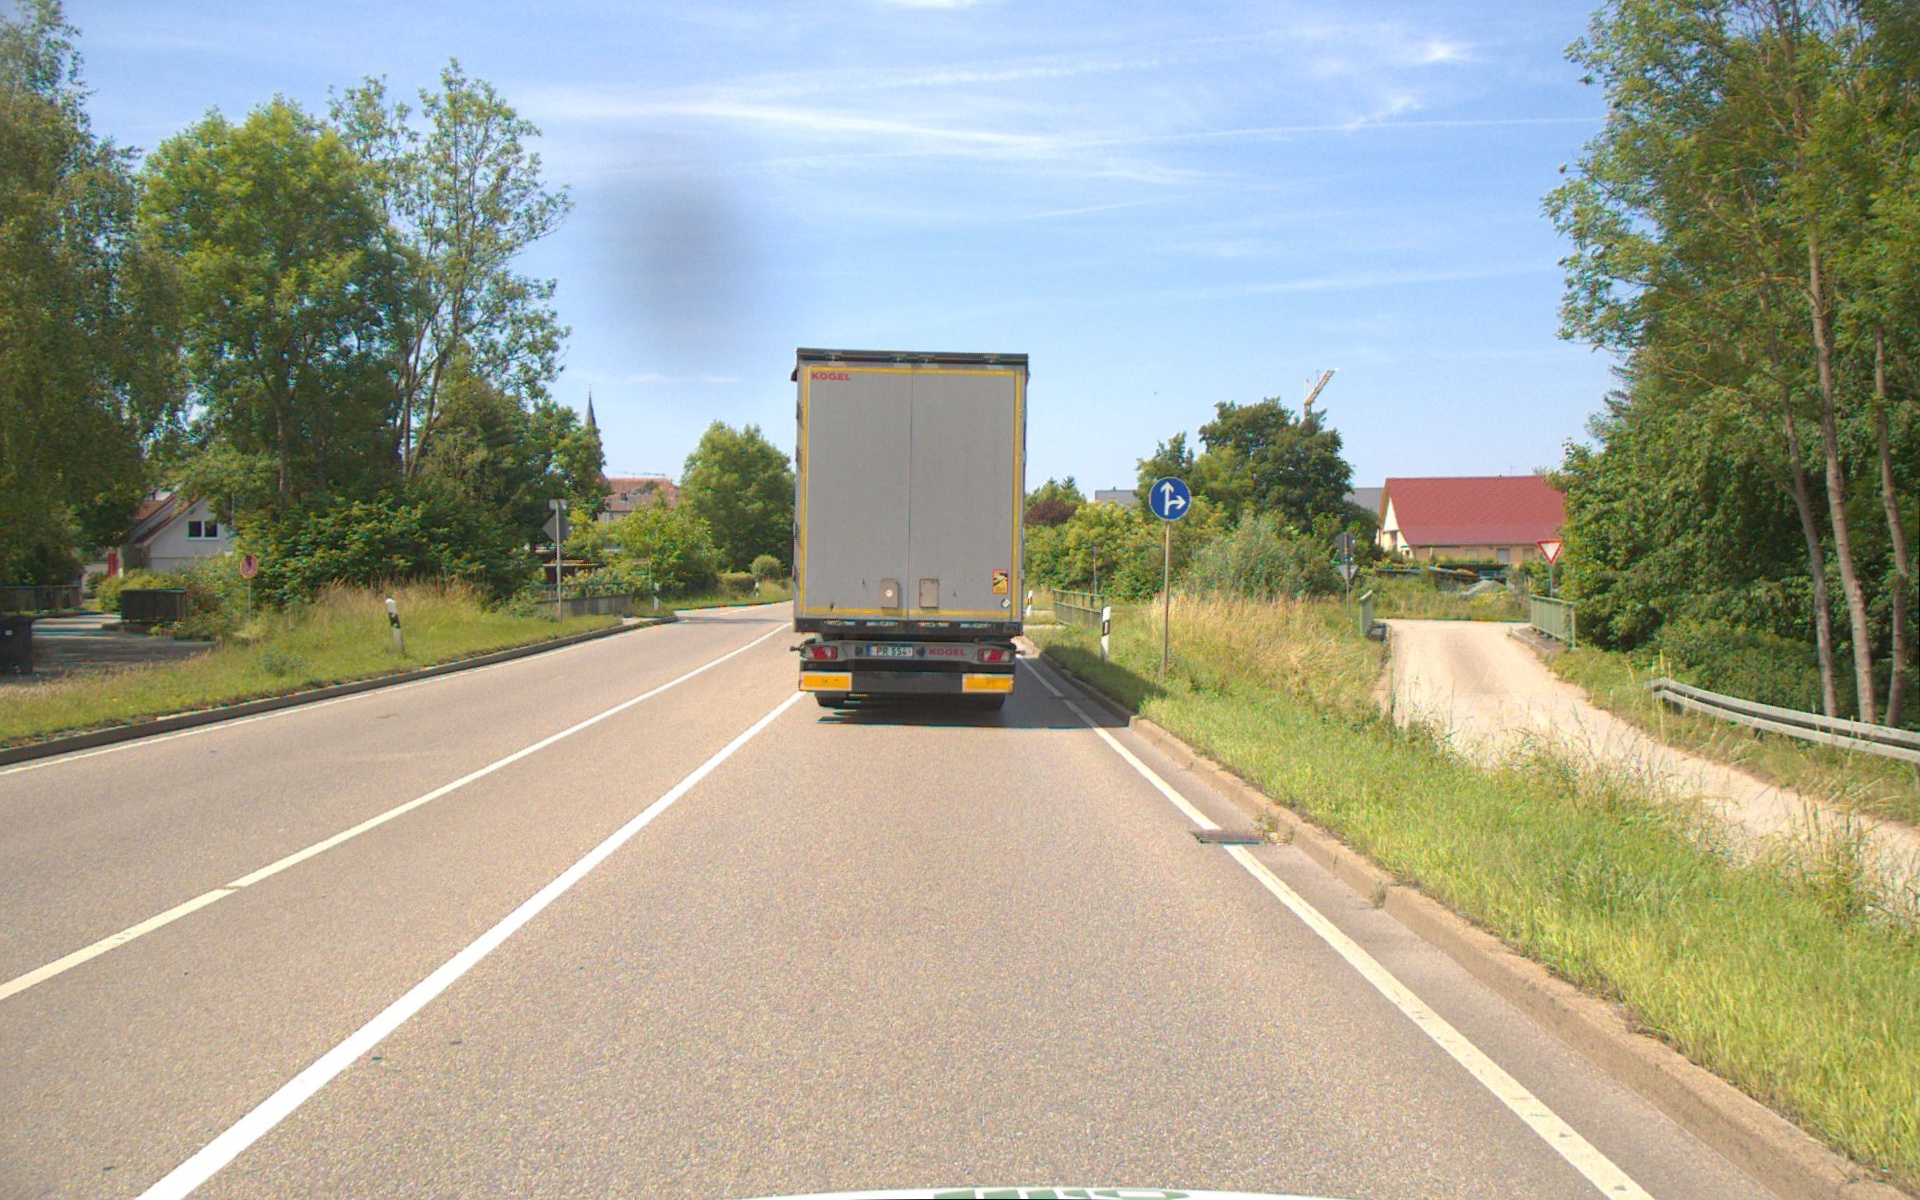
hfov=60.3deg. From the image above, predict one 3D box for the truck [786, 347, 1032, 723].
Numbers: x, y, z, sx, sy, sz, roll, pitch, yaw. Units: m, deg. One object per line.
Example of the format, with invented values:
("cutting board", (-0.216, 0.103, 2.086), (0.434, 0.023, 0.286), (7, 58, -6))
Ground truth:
("truck", (-0.703, -0.713, 22.074), (2.594, 3.985, 8.821), (0, 0, -2))
